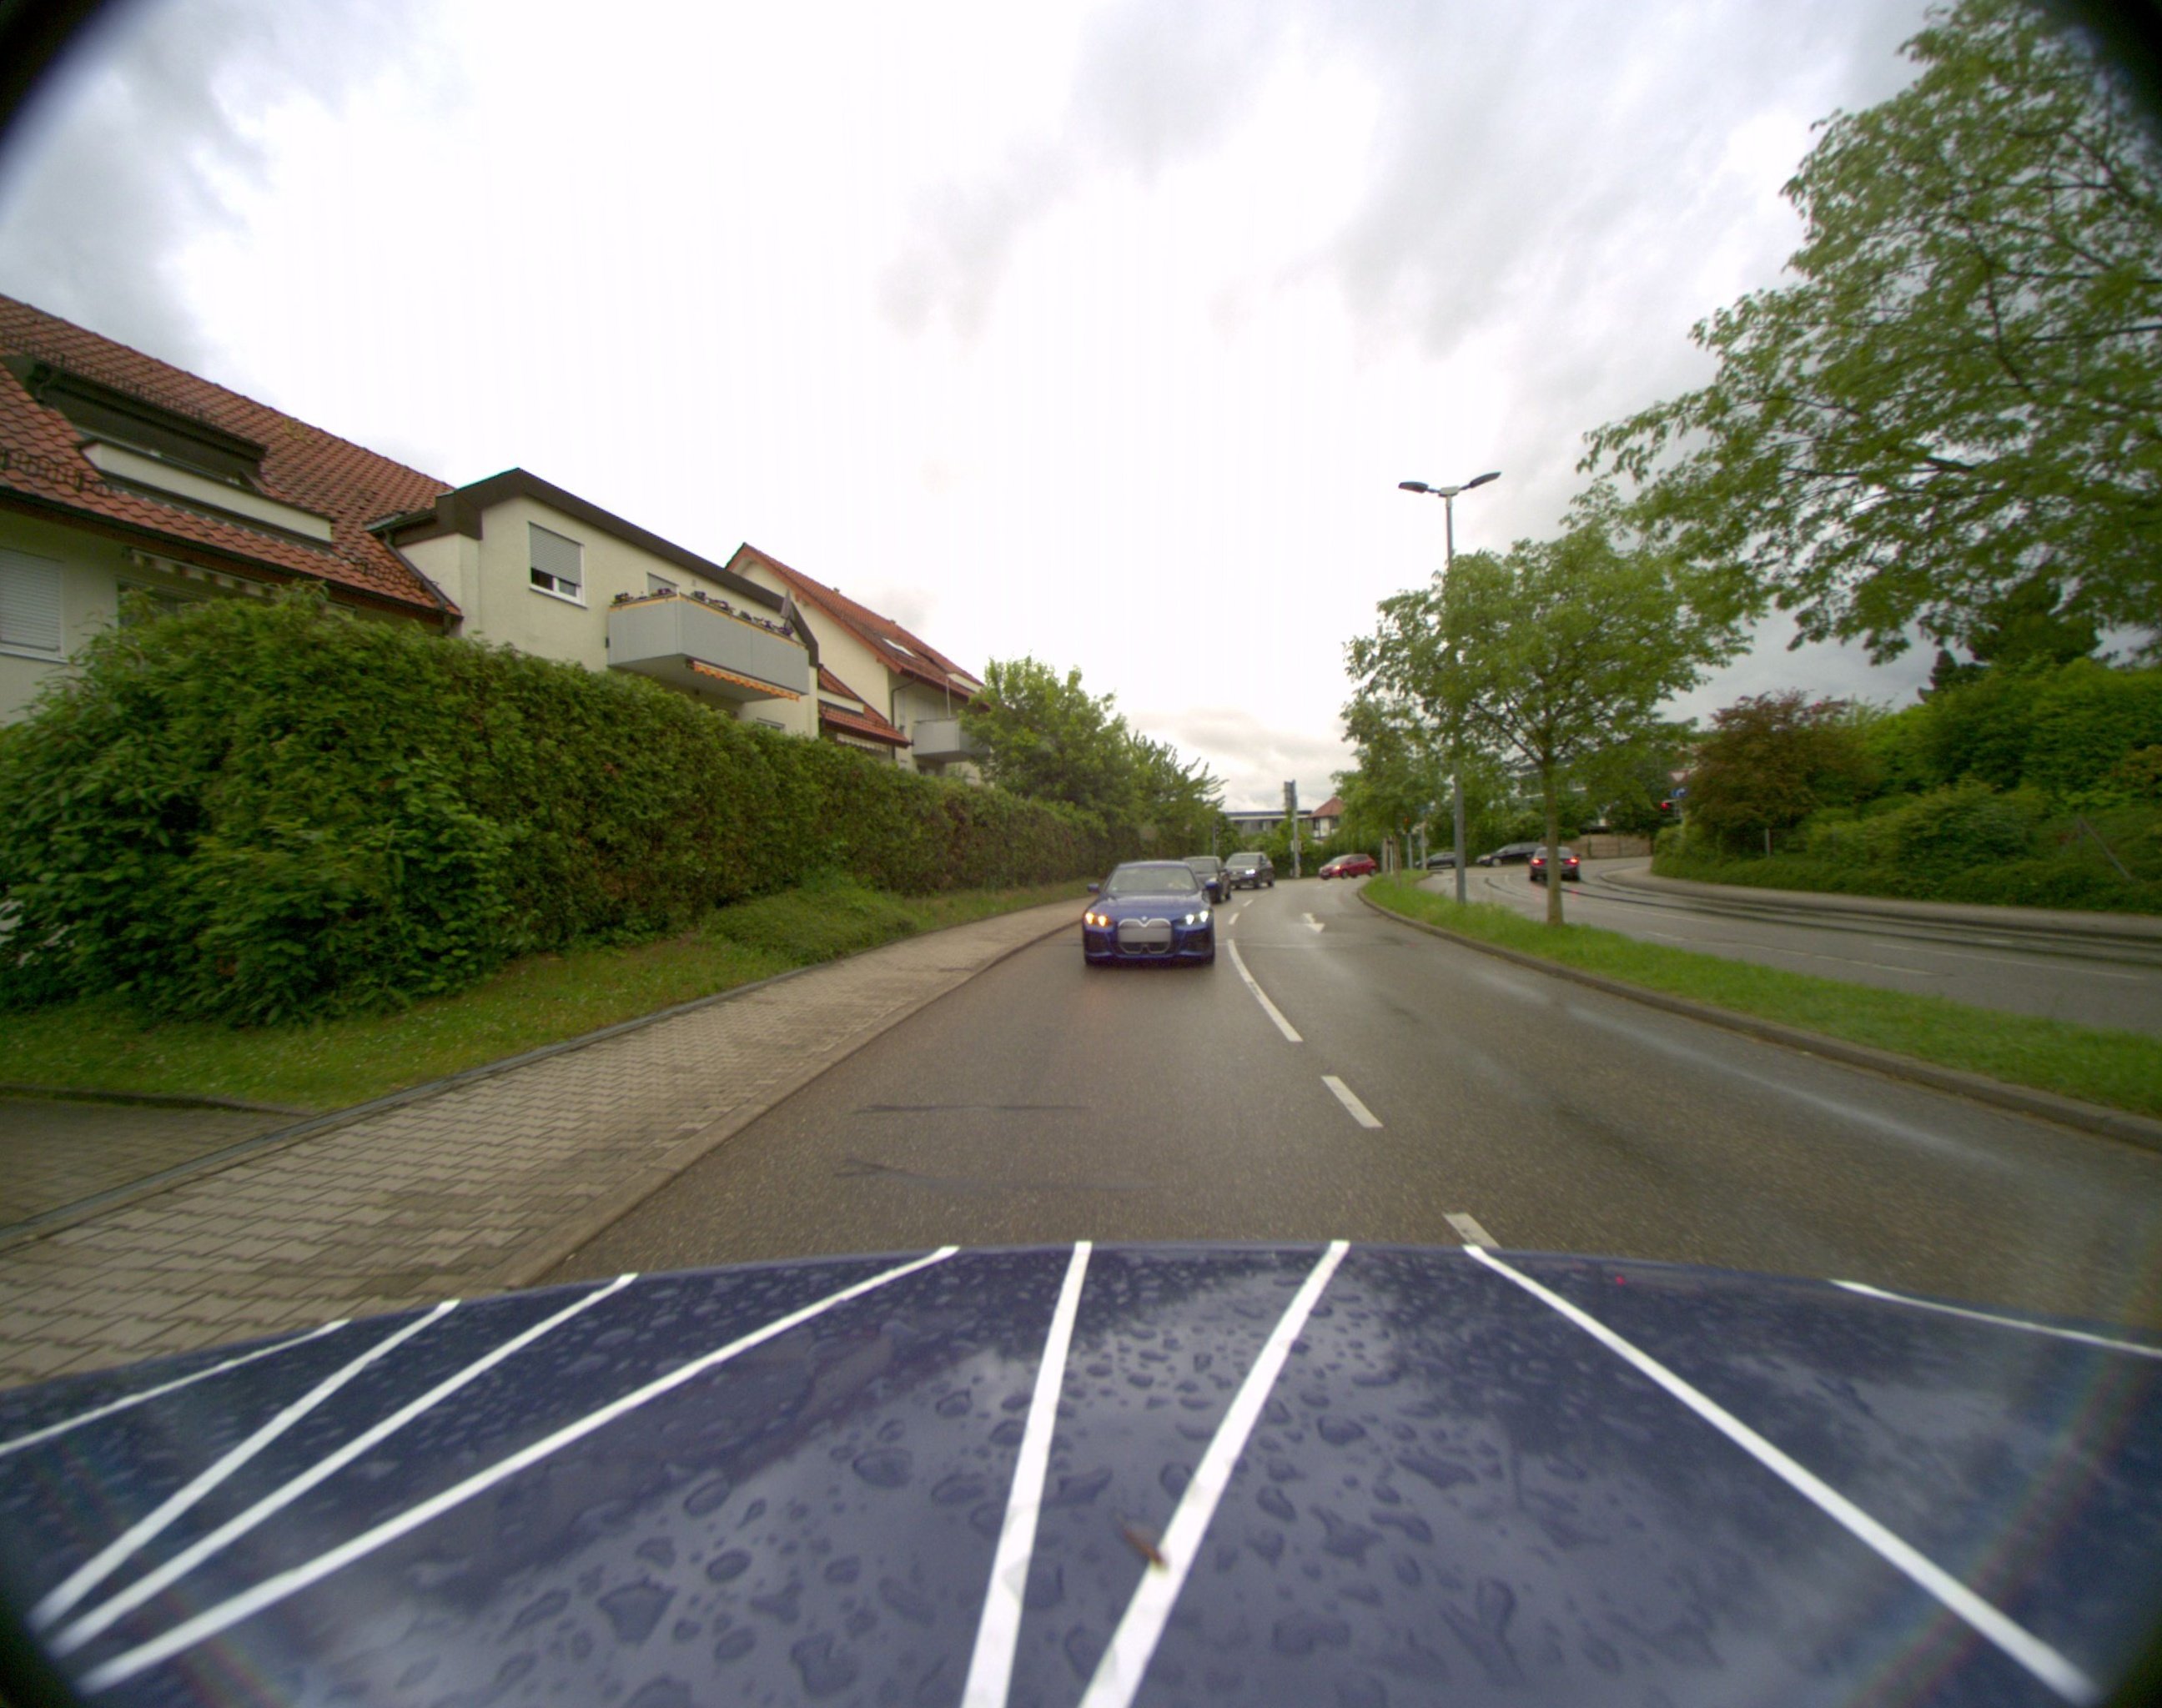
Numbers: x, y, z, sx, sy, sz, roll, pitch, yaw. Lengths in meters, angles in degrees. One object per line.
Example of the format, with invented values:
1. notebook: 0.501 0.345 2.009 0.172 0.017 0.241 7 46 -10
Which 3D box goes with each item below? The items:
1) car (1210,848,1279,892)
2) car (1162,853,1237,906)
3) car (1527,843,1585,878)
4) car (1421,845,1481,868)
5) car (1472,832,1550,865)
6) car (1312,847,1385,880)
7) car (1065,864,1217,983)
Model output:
1. car: 7.599 0.734 34.960 1.964 1.738 4.316 -6 -3 26
2. car: 4.024 0.855 25.275 1.744 1.509 4.006 -5 -3 17
3. car: 20.680 0.299 33.130 1.995 1.429 4.557 -1 -1 32
4. car: 29.159 0.184 59.850 3.989 1.661 2.003 0 3 33
5. car: 28.219 -0.329 50.008 3.993 1.715 1.872 -5 -3 16
6. car: 16.664 0.597 47.319 4.004 1.715 1.866 -3 -3 -25
7. car: 1.147 0.938 12.061 1.912 1.487 4.352 -1 0 11
